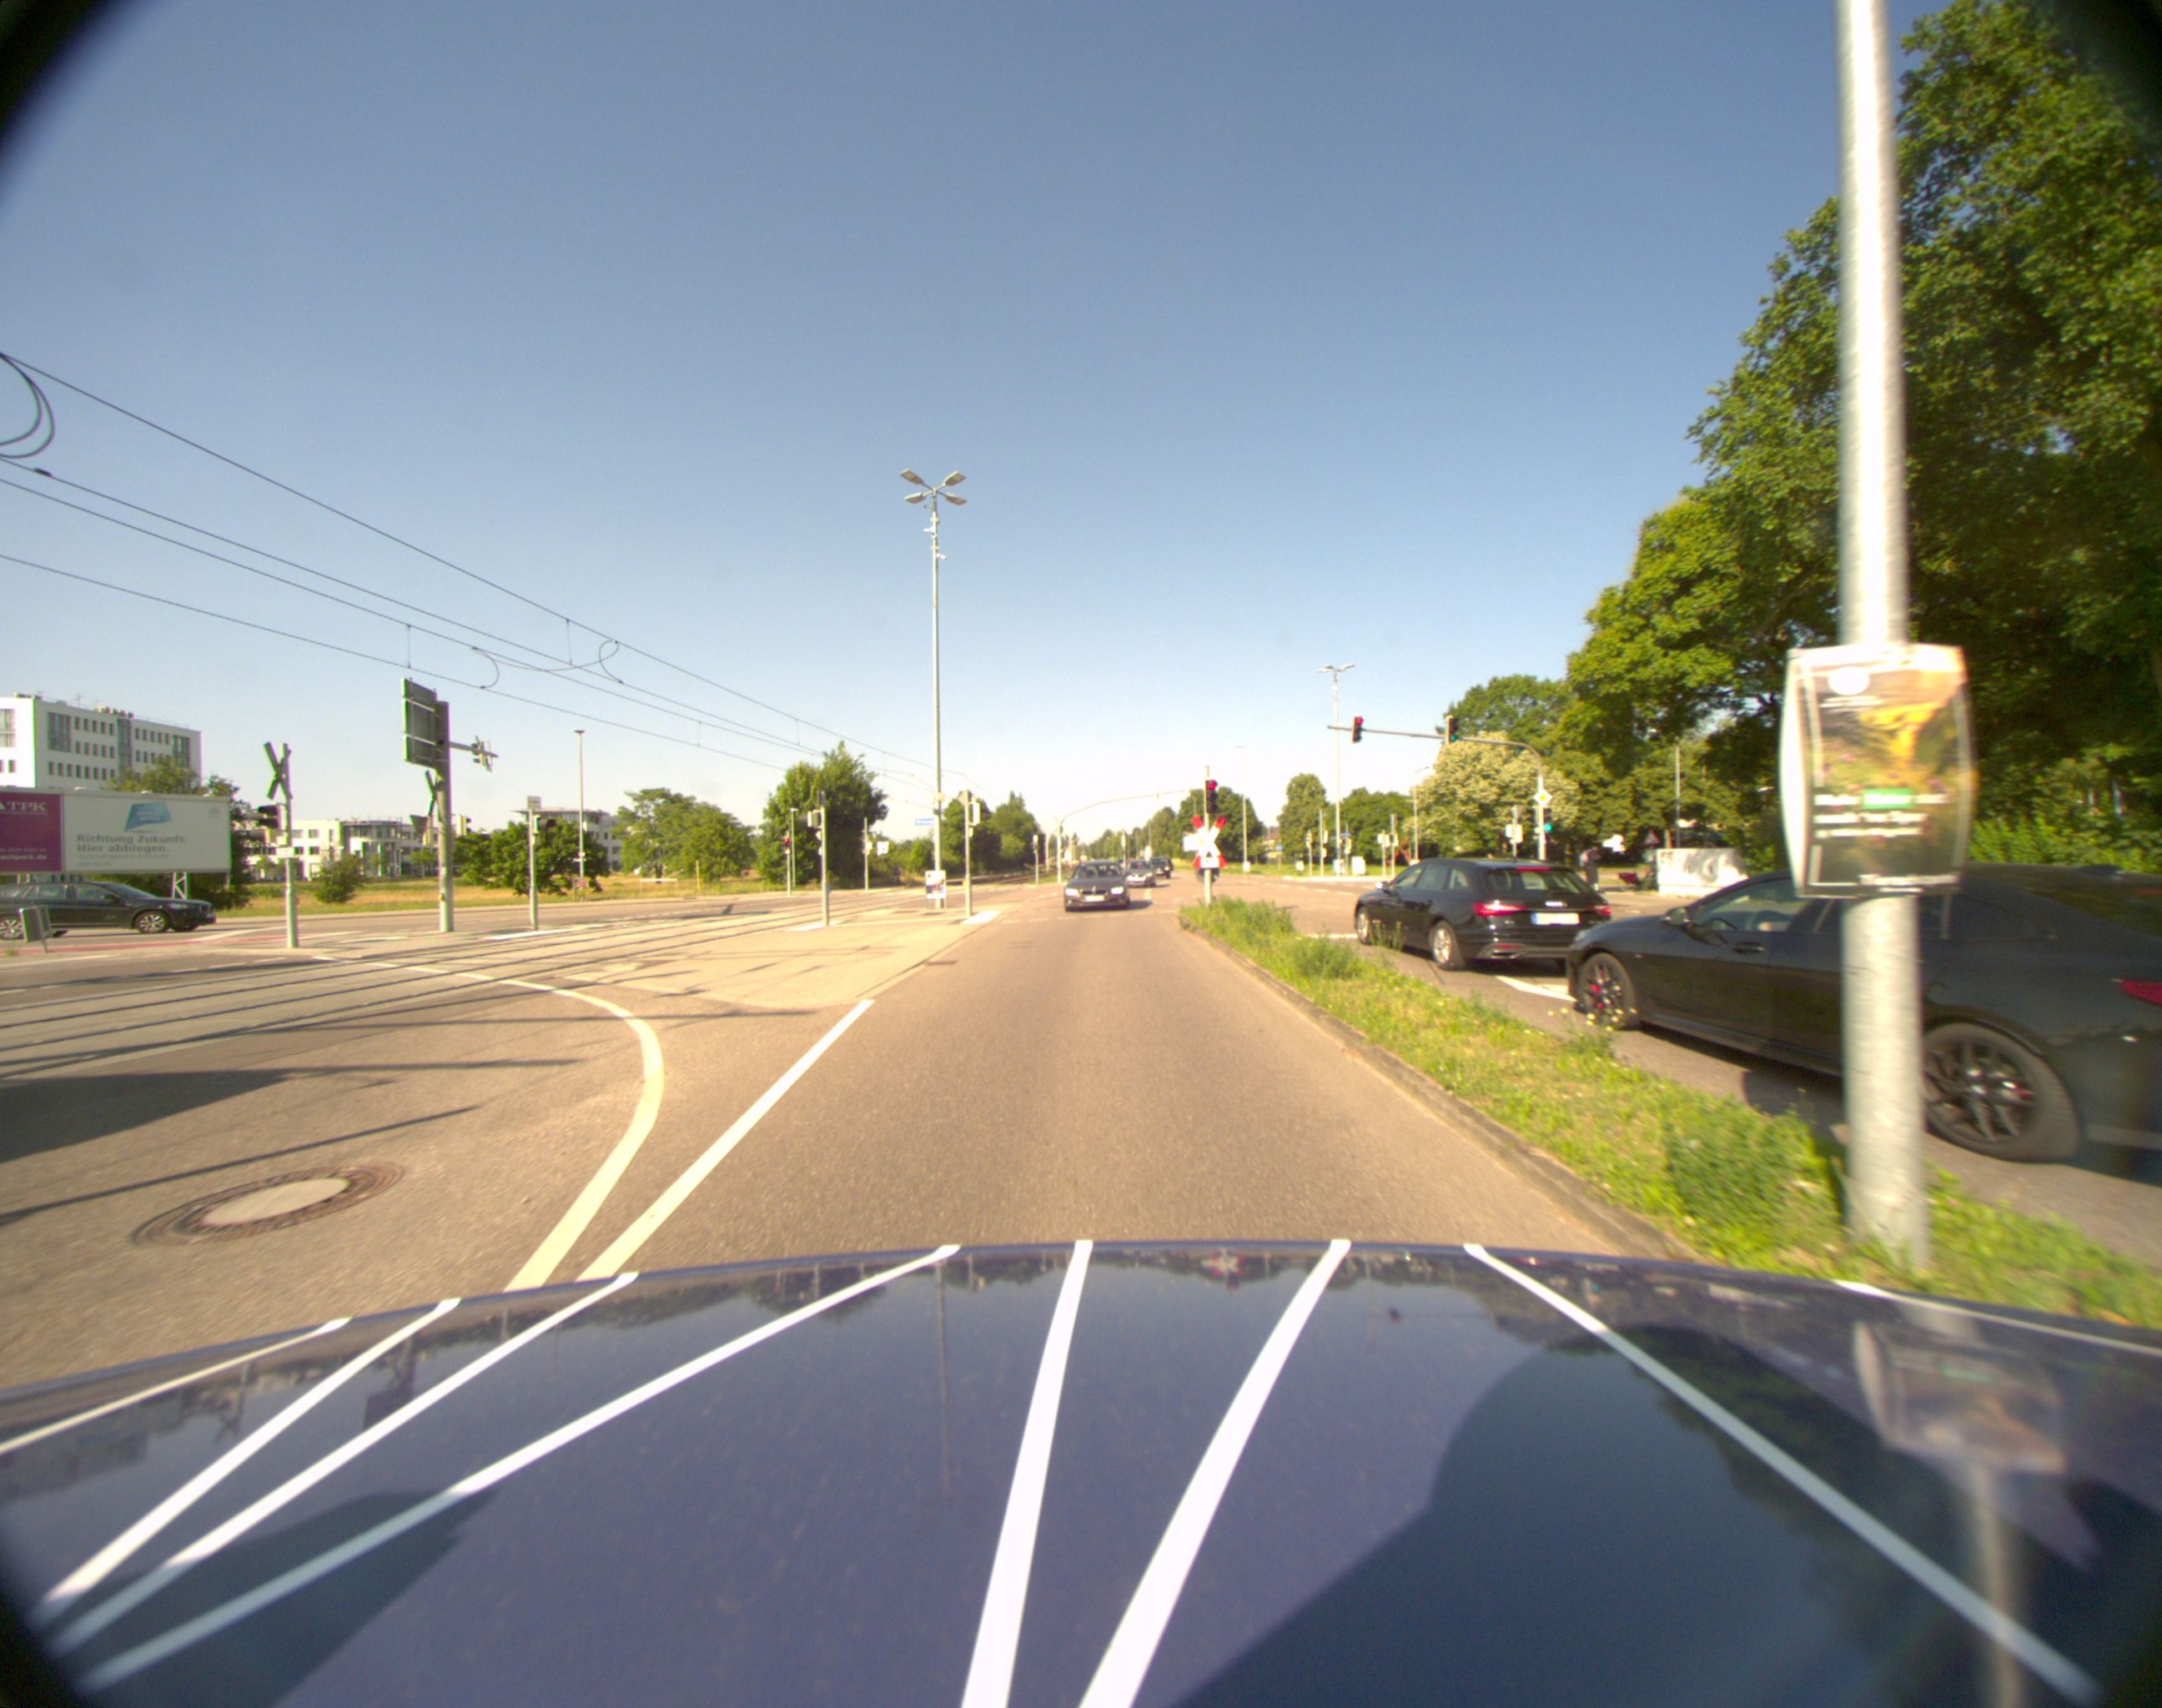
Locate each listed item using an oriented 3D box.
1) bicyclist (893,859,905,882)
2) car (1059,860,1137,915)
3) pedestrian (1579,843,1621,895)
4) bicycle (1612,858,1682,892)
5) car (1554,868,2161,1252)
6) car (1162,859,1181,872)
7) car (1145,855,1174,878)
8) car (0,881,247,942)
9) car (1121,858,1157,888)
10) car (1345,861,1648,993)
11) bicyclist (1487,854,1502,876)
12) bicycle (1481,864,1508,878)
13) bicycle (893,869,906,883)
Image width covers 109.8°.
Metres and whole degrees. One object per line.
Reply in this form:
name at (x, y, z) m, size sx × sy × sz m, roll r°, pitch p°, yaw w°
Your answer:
bicyclist at (-14.185, 1.265, 59.345) m, size 0.708 × 1.797 × 0.718 m, roll -1°, pitch 0°, yaw 2°
car at (0.612, 0.938, 22.761) m, size 1.820 × 1.416 × 4.464 m, roll -1°, pitch 0°, yaw 7°
pedestrian at (17.759, 0.497, 26.035) m, size 0.817 × 1.741 × 0.932 m, roll -1°, pitch 0°, yaw 5°
bicycle at (19.264, 0.707, 25.893) m, size 1.914 × 1.112 × 0.632 m, roll -1°, pitch 0°, yaw 0°
car at (5.165, 0.836, 4.707) m, size 1.833 × 1.426 × 4.381 m, roll 0°, pitch 0°, yaw 2°
car at (12.008, 1.530, 101.080) m, size 1.994 × 1.649 × 4.385 m, roll -1°, pitch 0°, yaw 2°
car at (5.934, 0.935, 57.912) m, size 1.821 × 1.641 × 4.611 m, roll -2°, pitch 0°, yaw 1°
car at (-28.458, 1.635, 22.357) m, size 4.869 × 1.553 × 2.040 m, roll 0°, pitch 0°, yaw -28°
car at (3.086, 0.971, 40.740) m, size 1.820 × 1.481 × 4.612 m, roll -1°, pitch 0°, yaw 4°
car at (5.420, 0.832, 10.790) m, size 1.833 × 1.423 × 4.732 m, roll 0°, pitch 0°, yaw 2°
bicyclist at (29.083, 0.808, 53.488) m, size 0.628 × 1.514 × 0.617 m, roll -2°, pitch -1°, yaw -19°
bicycle at (29.102, 1.172, 53.481) m, size 1.811 × 0.898 × 0.653 m, roll -1°, pitch 0°, yaw -20°
bicycle at (-14.163, 1.735, 59.325) m, size 0.547 × 1.041 × 1.874 m, roll -1°, pitch 0°, yaw 1°
